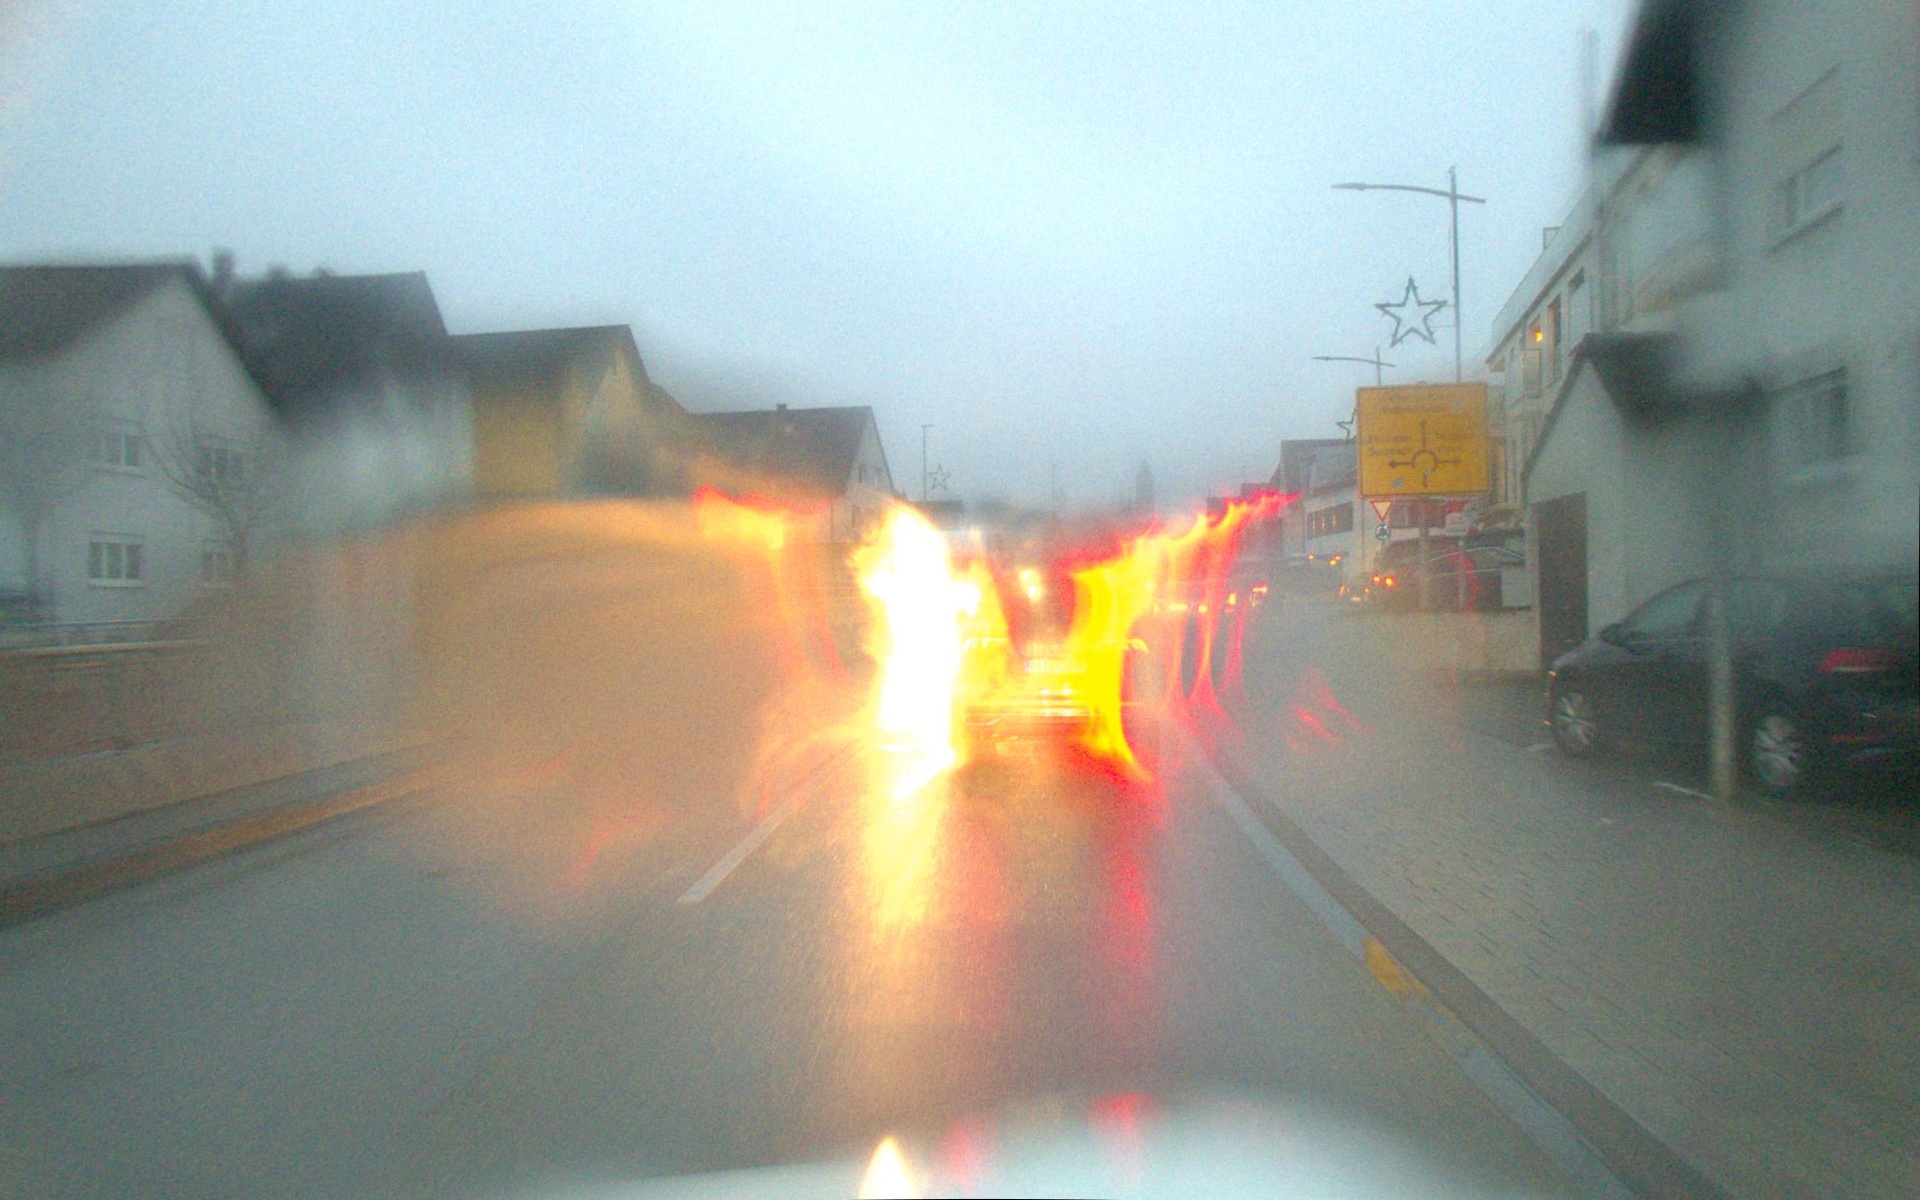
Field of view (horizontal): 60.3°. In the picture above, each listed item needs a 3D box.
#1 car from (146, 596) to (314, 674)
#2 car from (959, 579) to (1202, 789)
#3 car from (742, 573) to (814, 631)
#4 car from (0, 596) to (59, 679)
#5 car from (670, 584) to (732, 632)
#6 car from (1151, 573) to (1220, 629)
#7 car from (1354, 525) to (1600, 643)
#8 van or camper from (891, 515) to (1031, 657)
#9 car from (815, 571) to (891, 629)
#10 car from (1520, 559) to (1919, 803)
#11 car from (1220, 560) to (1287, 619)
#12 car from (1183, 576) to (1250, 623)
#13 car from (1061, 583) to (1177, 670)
[{"bbox_3d":[-17.754,0.812,40.444,1.870,1.712,4.221,-2,1,6],"label":"car"},{"bbox_3d":[0.973,0.641,15.284,1.924,1.622,4.314,0,1,0],"label":"car"},{"bbox_3d":[-6.625,0.052,59.865,2.004,1.959,4.040,-2,1,-15],"label":"car"},{"bbox_3d":[-22.121,0.878,36.013,3.903,1.723,1.865,-3,1,3],"label":"car"},{"bbox_3d":[-9.452,0.255,60.256,1.791,1.641,4.040,-2,1,-15],"label":"car"},{"bbox_3d":[6.168,0.005,45.399,1.776,1.436,4.004,0,1,7],"label":"car"},{"bbox_3d":[9.945,-0.312,32.082,4.091,1.666,1.805,-8,0,4],"label":"car"},{"bbox_3d":[0.157,-0.315,35.746,2.193,2.715,6.560,-2,1,7],"label":"van or camper"},{"bbox_3d":[-3.945,-0.017,60.375,2.004,1.959,4.040,-2,1,-15],"label":"car"},{"bbox_3d":[5.839,0.470,12.070,1.732,1.418,3.907,-3,0,-7],"label":"car"},{"bbox_3d":[11.341,-0.406,64.164,2.112,2.025,4.502,-5,0,6],"label":"car"},{"bbox_3d":[8.459,-0.040,54.378,1.951,1.416,4.004,-1,1,12],"label":"car"},{"bbox_3d":[2.998,0.451,30.501,1.646,1.478,4.003,0,0,12],"label":"car"}]
